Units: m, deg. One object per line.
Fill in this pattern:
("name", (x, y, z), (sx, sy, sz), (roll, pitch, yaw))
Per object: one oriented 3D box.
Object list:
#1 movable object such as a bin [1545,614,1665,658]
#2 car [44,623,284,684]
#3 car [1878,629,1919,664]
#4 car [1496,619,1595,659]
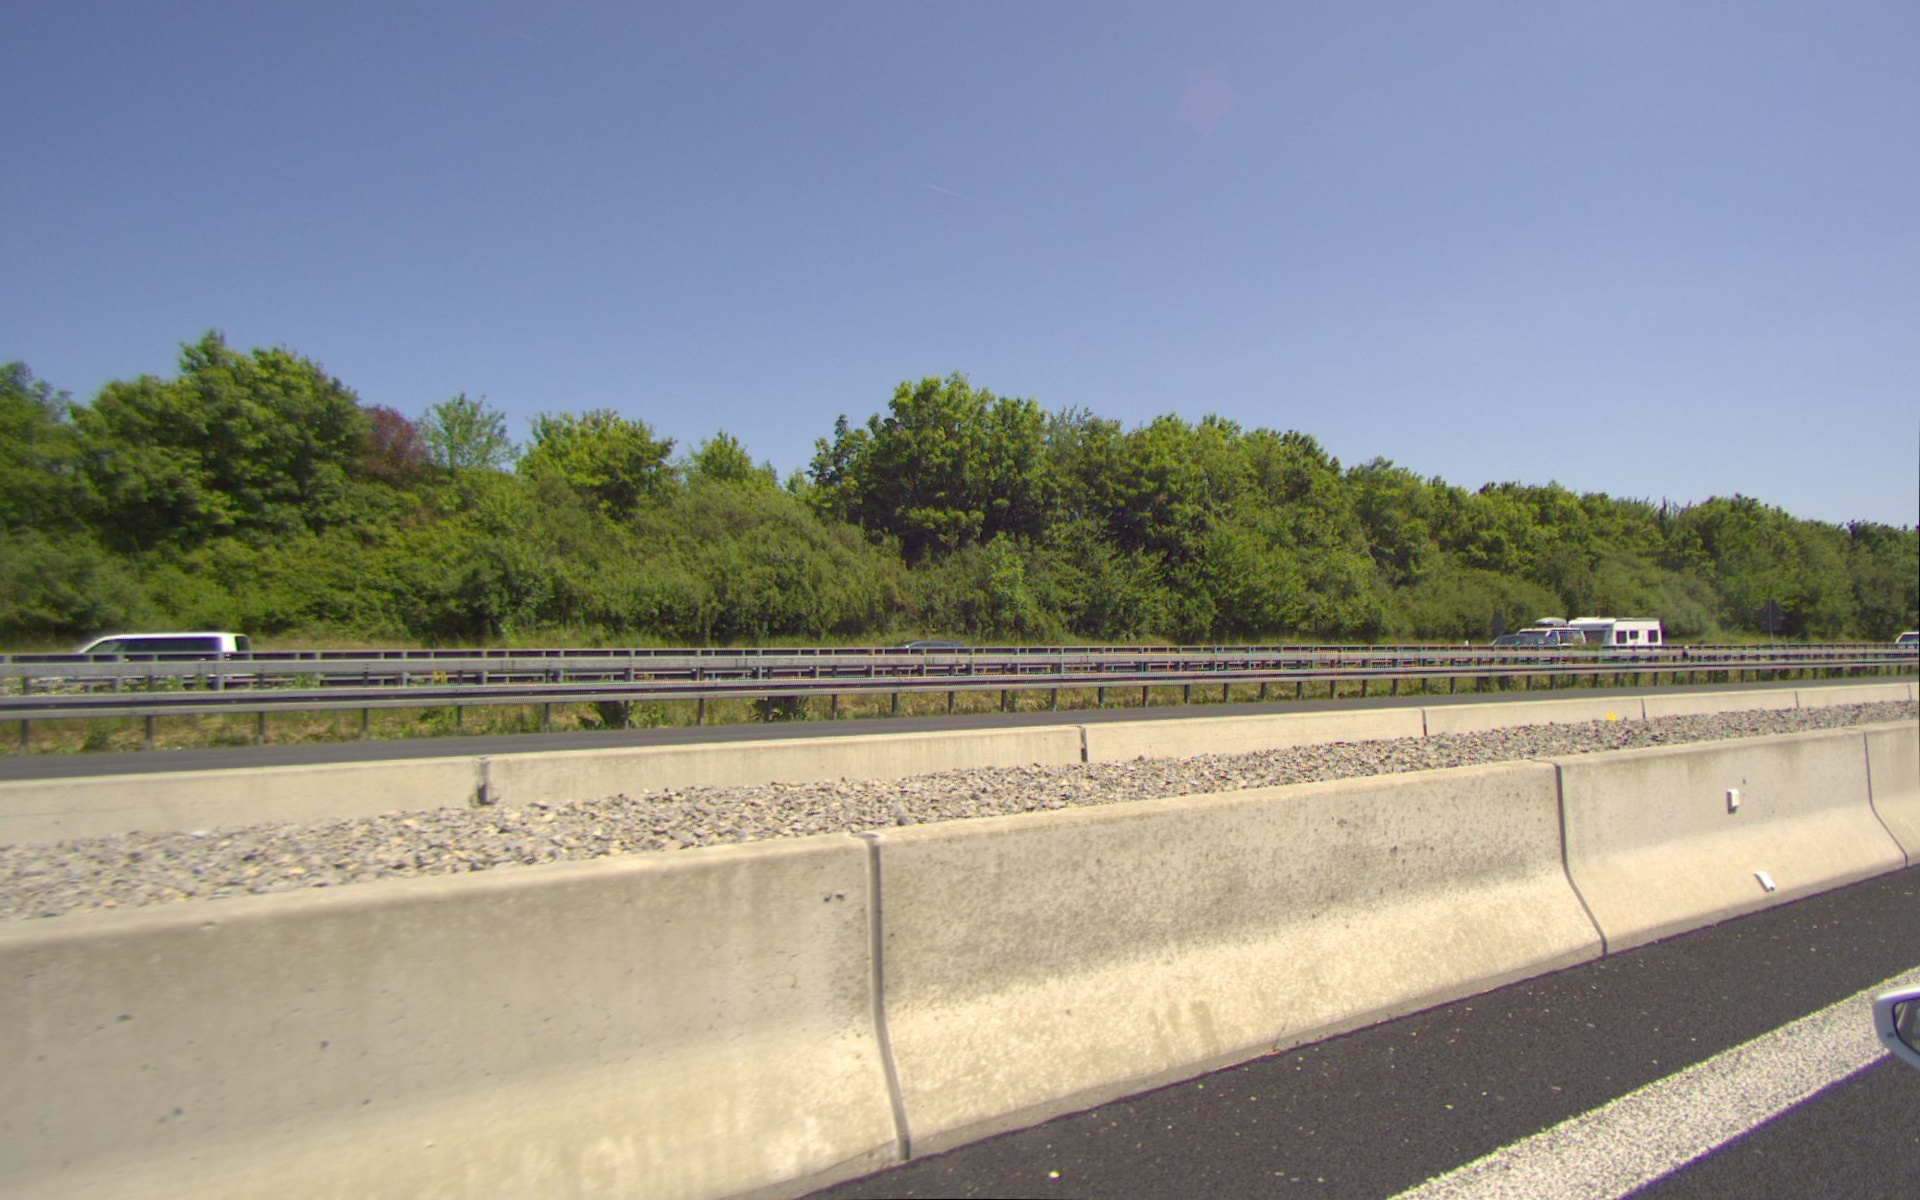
("movable object such as a bin", (33.151, 1.852, 51.523), (6.704, 2.040, 2.494), (2, 0, -32))
("car", (-22.342, 1.478, 28.485), (4.923, 1.598, 1.989), (1, -2, -24))
("car", (59.966, 2.920, 62.986), (5.286, 2.040, 1.984), (2, 0, -30))
("car", (28.291, 1.908, 48.486), (4.758, 1.829, 1.985), (2, -3, -29))
